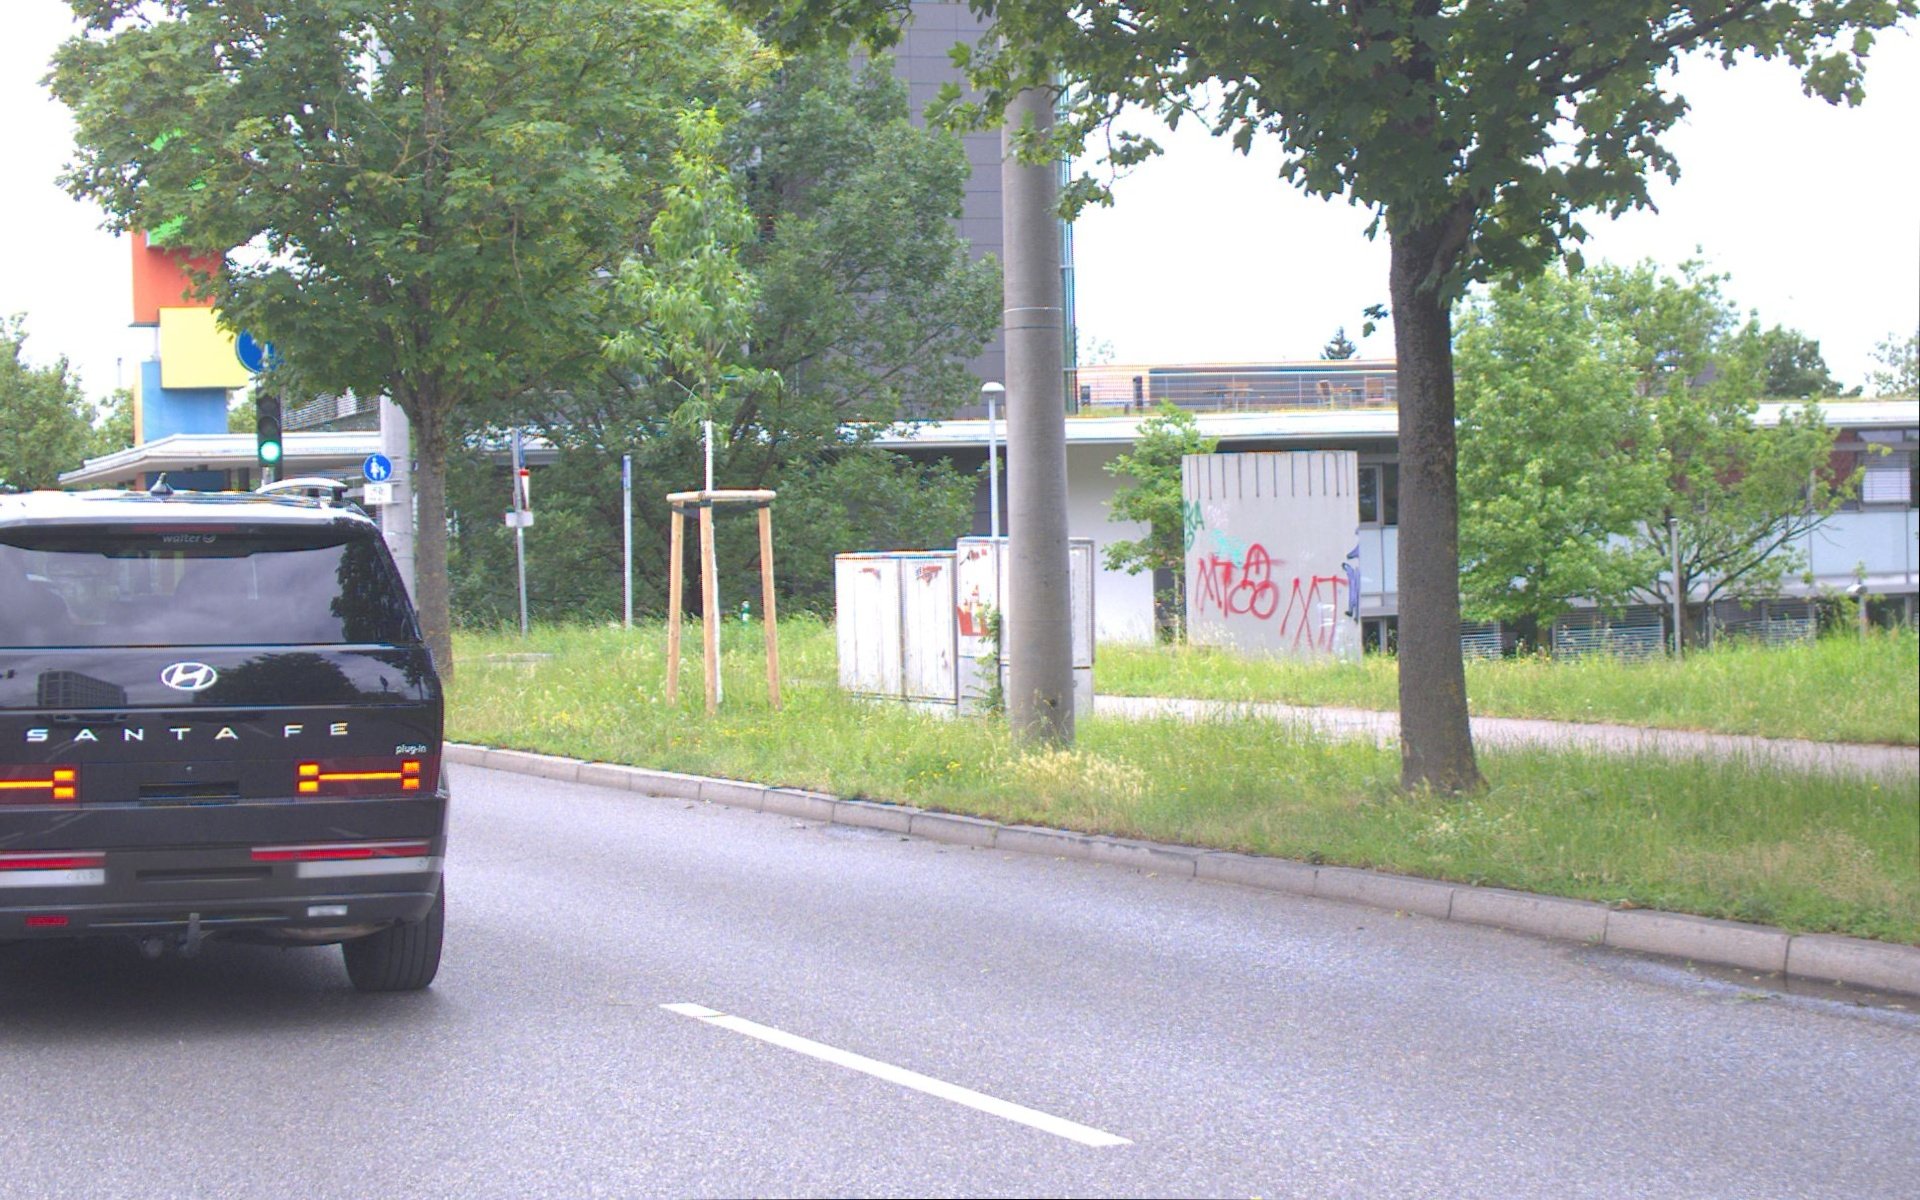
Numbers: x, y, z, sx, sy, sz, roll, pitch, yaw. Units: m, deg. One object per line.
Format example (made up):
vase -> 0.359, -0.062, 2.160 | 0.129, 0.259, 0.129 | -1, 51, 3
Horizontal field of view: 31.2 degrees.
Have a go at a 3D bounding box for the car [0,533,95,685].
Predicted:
car -> -10.698, 0.052, 37.053 | 1.901, 1.537, 4.710 | 0, 1, -24

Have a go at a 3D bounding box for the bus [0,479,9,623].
bus -> -23.483, -1.021, 78.715 | 2.965, 3.106, 9.246 | -3, 1, -17

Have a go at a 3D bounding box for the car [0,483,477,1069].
car -> -3.149, 0.470, 12.360 | 1.901, 1.725, 4.447 | 0, 1, -20
